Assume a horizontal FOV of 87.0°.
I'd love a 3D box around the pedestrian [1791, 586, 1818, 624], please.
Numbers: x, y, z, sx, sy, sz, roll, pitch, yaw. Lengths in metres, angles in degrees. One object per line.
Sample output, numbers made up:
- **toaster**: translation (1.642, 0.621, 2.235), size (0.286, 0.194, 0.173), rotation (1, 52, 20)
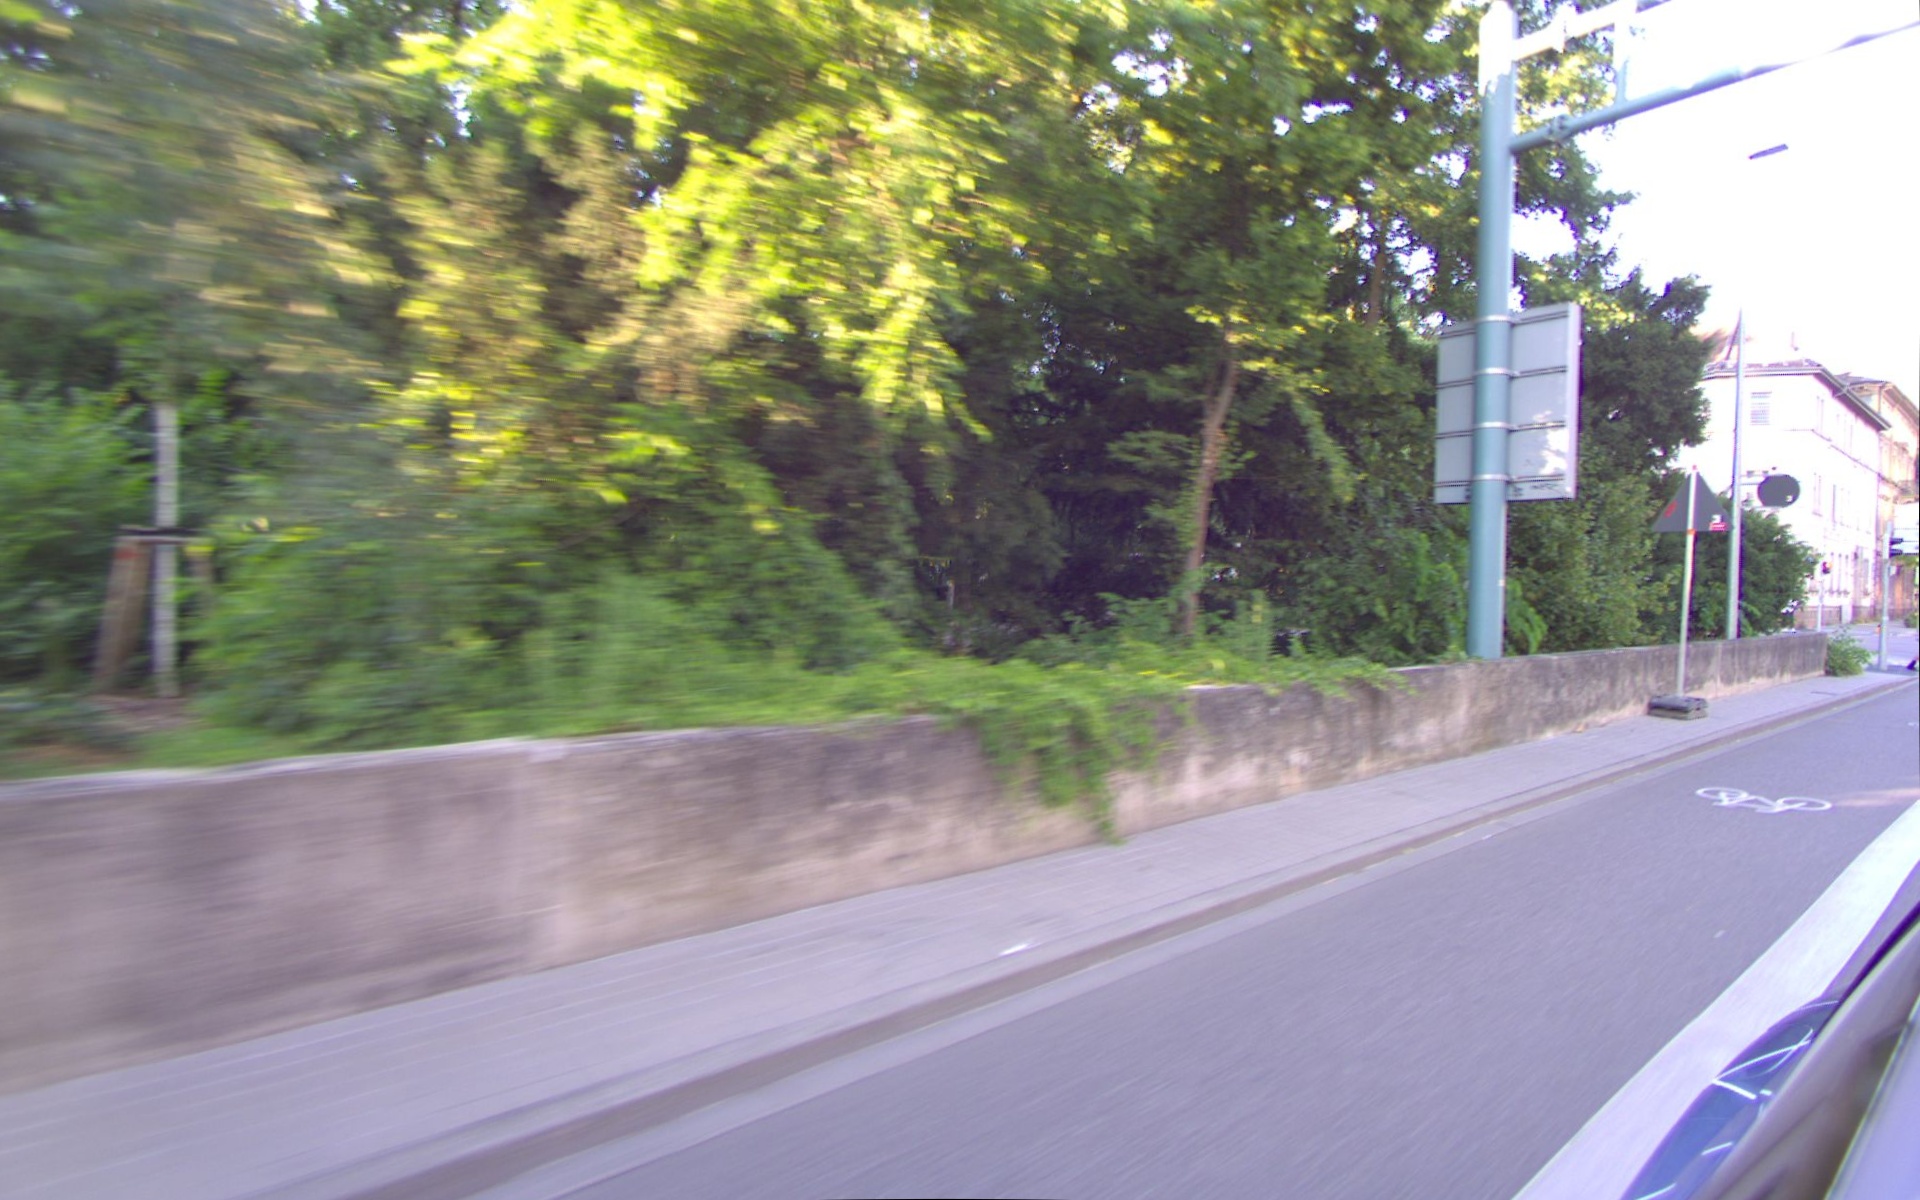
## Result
- **pedestrian**: translation (38.229, 0.203, 45.821), size (0.812, 1.677, 0.630), rotation (2, 1, 30)
